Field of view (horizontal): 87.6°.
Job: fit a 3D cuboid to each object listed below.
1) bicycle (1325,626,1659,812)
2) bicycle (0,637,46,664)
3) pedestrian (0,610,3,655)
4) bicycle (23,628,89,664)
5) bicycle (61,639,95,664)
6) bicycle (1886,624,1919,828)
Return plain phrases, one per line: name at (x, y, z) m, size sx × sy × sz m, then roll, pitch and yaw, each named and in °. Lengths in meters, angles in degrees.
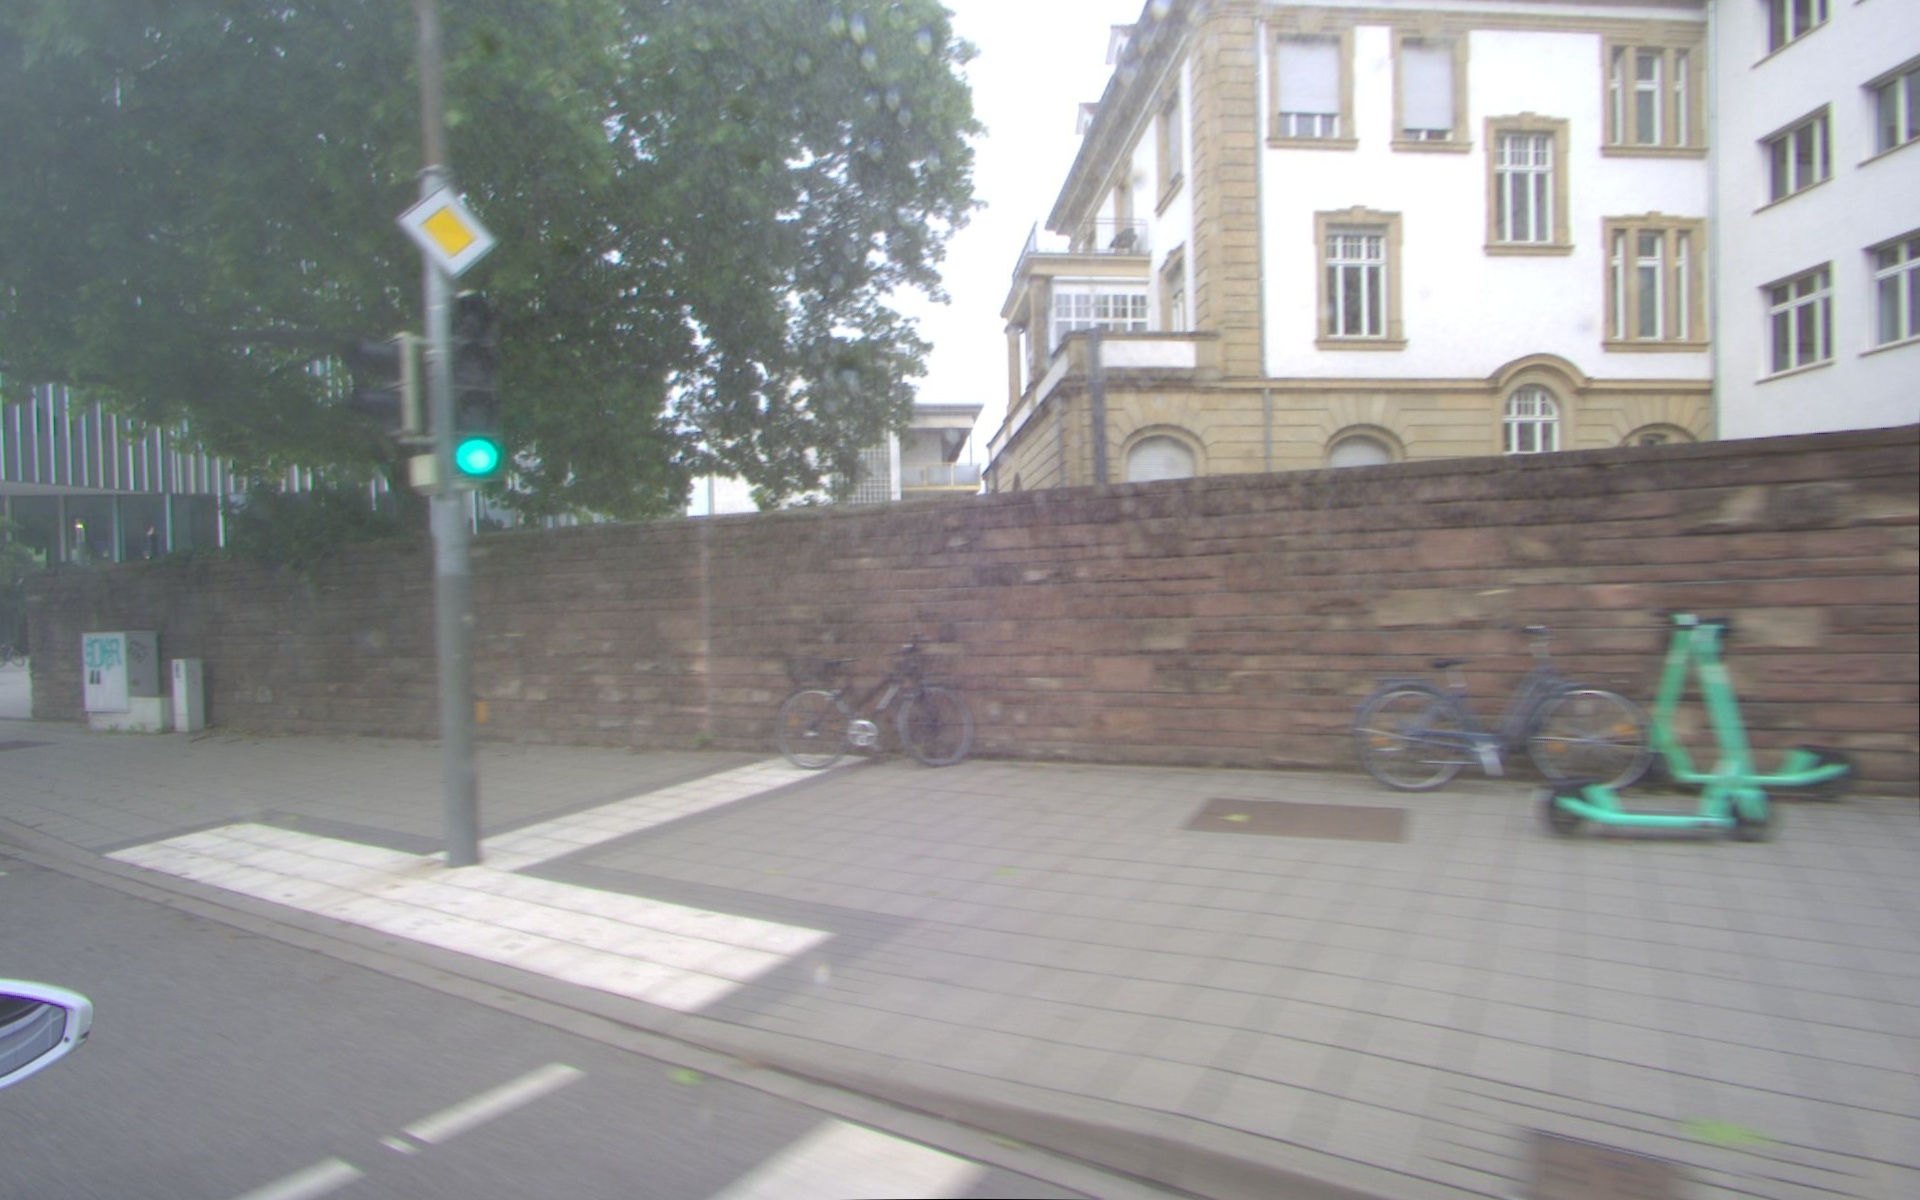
bicycle at (3.468, 0.764, 6.655) m, size 1.905 × 1.158 × 0.386 m, roll -1°, pitch -1°, yaw 12°
bicycle at (-37.844, 2.014, 39.938) m, size 0.766 × 1.019 × 2.192 m, roll -1°, pitch 0°, yaw -1°
pedestrian at (-45.551, 1.531, 46.756) m, size 1.124 × 2.088 × 1.175 m, roll -2°, pitch -2°, yaw 44°
bicycle at (-36.227, 1.815, 40.157) m, size 0.633 × 1.324 × 2.007 m, roll 0°, pitch 2°, yaw 7°
bicycle at (-35.212, 2.044, 39.974) m, size 0.387 × 0.911 × 1.470 m, roll -1°, pitch 0°, yaw -15°
bicycle at (6.382, 0.702, 5.531) m, size 1.905 × 1.158 × 0.386 m, roll -1°, pitch -1°, yaw 12°
